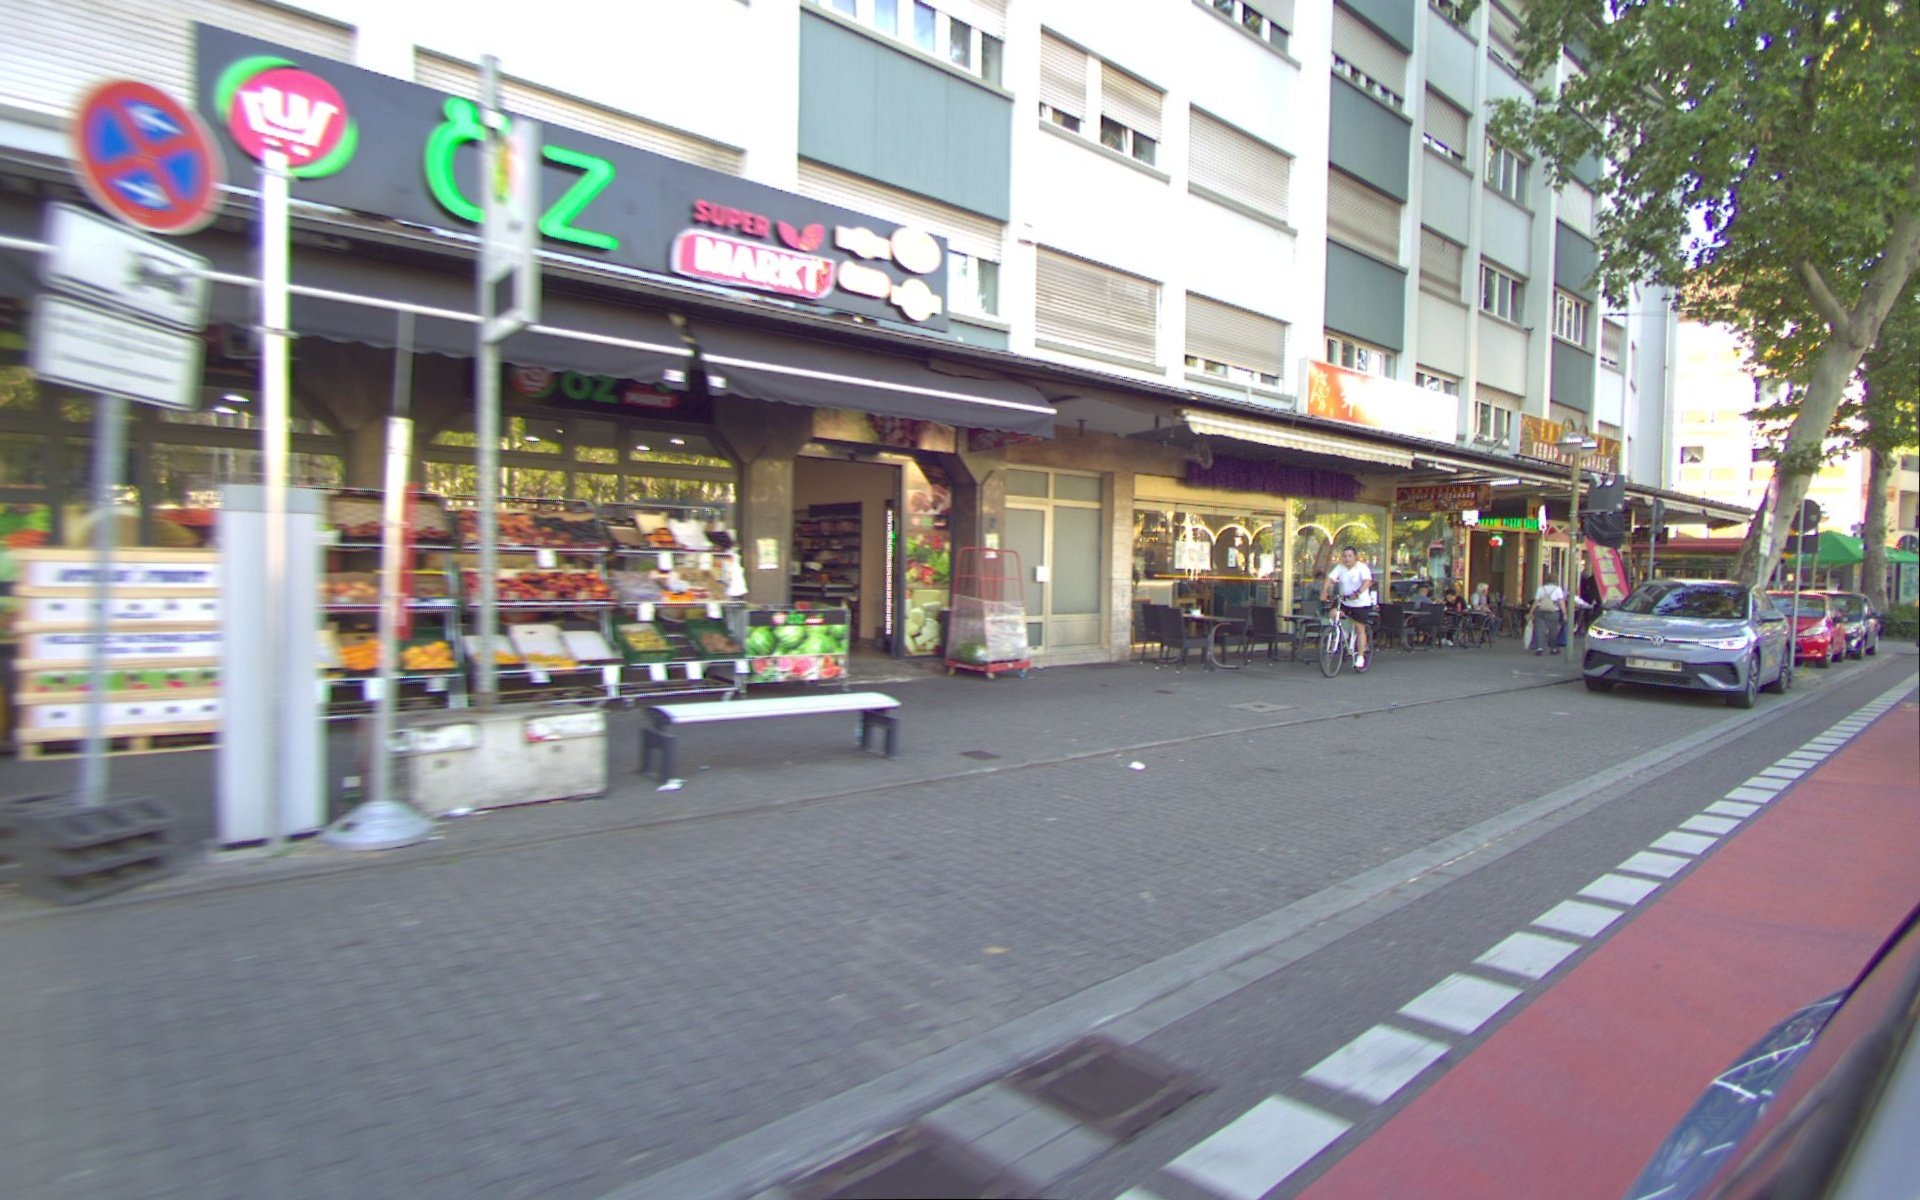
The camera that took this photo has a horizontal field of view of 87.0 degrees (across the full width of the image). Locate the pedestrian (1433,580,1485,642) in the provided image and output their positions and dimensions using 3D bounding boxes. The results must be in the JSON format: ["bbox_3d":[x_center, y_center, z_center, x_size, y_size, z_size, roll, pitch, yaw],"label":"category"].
[{"bbox_3d":[10.063,0.217,20.405,0.698,1.191,0.677,0,3,-41],"label":"pedestrian"}]

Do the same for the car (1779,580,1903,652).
[{"bbox_3d":[20.735,0.319,23.782,3.735,1.497,1.659,0,3,-41],"label":"car"}]

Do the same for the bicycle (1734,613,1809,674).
[{"bbox_3d":[13.778,0.710,17.158,2.004,0.895,0.625,-1,4,-42],"label":"bicycle"}]

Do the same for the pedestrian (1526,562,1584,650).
[{"bbox_3d":[11.210,0.097,19.081,0.666,1.605,0.709,0,3,-42],"label":"pedestrian"}]

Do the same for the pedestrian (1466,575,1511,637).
[{"bbox_3d":[11.381,0.118,21.805,0.596,1.281,0.646,0,3,-41],"label":"pedestrian"}]

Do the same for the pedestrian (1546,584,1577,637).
[{"bbox_3d":[13.525,0.227,22.760,0.514,1.148,0.504,3,2,28],"label":"pedestrian"}]

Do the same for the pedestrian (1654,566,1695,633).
[{"bbox_3d":[17.412,-0.024,24.667,0.630,1.579,0.584,0,4,-39],"label":"pedestrian"}]

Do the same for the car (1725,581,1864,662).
[{"bbox_3d":[17.334,0.375,20.961,3.918,1.460,1.732,-1,4,-44],"label":"car"}]

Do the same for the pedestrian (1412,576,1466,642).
[{"bbox_3d":[9.374,0.159,19.813,0.697,1.242,0.677,0,3,-39],"label":"pedestrian"}]

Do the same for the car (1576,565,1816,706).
[{"bbox_3d":[10.564,0.379,14.380,4.712,1.617,1.920,-1,3,-44],"label":"car"}]

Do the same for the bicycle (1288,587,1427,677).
[{"bbox_3d":[5.566,0.402,14.106,2.227,1.117,0.778,0,4,-40],"label":"bicycle"}]

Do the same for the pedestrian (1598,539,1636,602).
[{"bbox_3d":[18.500,-0.824,28.477,0.666,1.730,0.709,0,2,-41],"label":"pedestrian"}]

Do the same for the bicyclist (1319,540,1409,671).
[{"bbox_3d":[5.626,0.052,14.114,0.815,1.729,0.771,0,4,-40],"label":"bicyclist"}]
